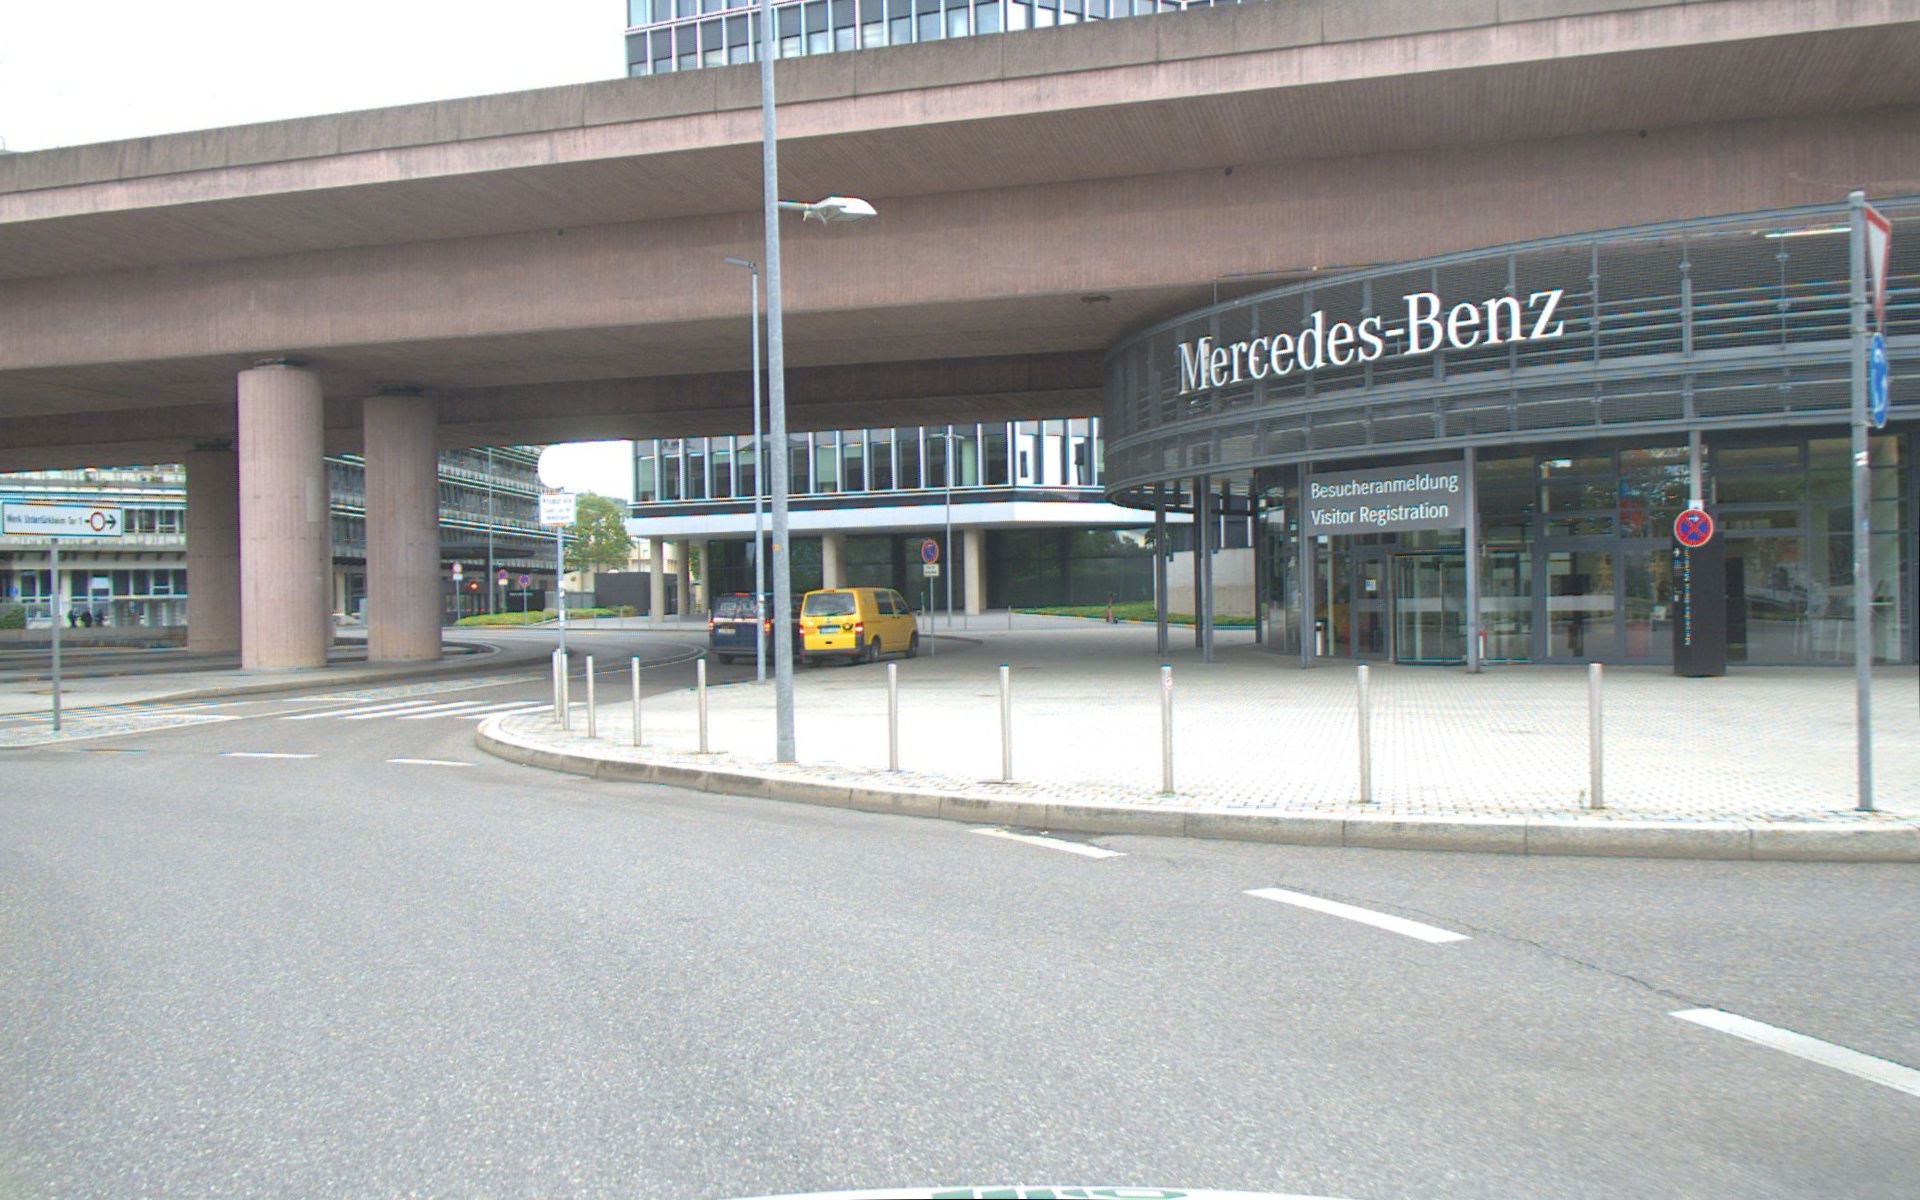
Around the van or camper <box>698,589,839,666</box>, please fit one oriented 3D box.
[{"bbox_3d":[-5.130,0.686,45.032,2.101,1.926,4.905,0,1,16],"label":"van or camper"}]

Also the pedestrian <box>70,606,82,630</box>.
[{"bbox_3d":[-56.262,1.135,105.233,0.486,1.507,0.544,0,1,-9],"label":"pedestrian"}]

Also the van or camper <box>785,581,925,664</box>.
[{"bbox_3d":[-2.689,0.535,43.426,2.304,2.034,4.508,0,1,16],"label":"van or camper"}]

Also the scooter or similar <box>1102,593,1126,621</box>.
[{"bbox_3d":[6.333,0.294,68.262,0.685,1.124,1.499,0,1,-7],"label":"scooter or similar"}]

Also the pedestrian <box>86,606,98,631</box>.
[{"bbox_3d":[-54.597,1.162,104.008,0.486,1.507,0.544,0,1,-9],"label":"pedestrian"}]

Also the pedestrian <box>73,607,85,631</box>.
[{"bbox_3d":[-55.281,1.171,103.794,0.486,1.507,0.544,0,1,-9],"label":"pedestrian"}]
